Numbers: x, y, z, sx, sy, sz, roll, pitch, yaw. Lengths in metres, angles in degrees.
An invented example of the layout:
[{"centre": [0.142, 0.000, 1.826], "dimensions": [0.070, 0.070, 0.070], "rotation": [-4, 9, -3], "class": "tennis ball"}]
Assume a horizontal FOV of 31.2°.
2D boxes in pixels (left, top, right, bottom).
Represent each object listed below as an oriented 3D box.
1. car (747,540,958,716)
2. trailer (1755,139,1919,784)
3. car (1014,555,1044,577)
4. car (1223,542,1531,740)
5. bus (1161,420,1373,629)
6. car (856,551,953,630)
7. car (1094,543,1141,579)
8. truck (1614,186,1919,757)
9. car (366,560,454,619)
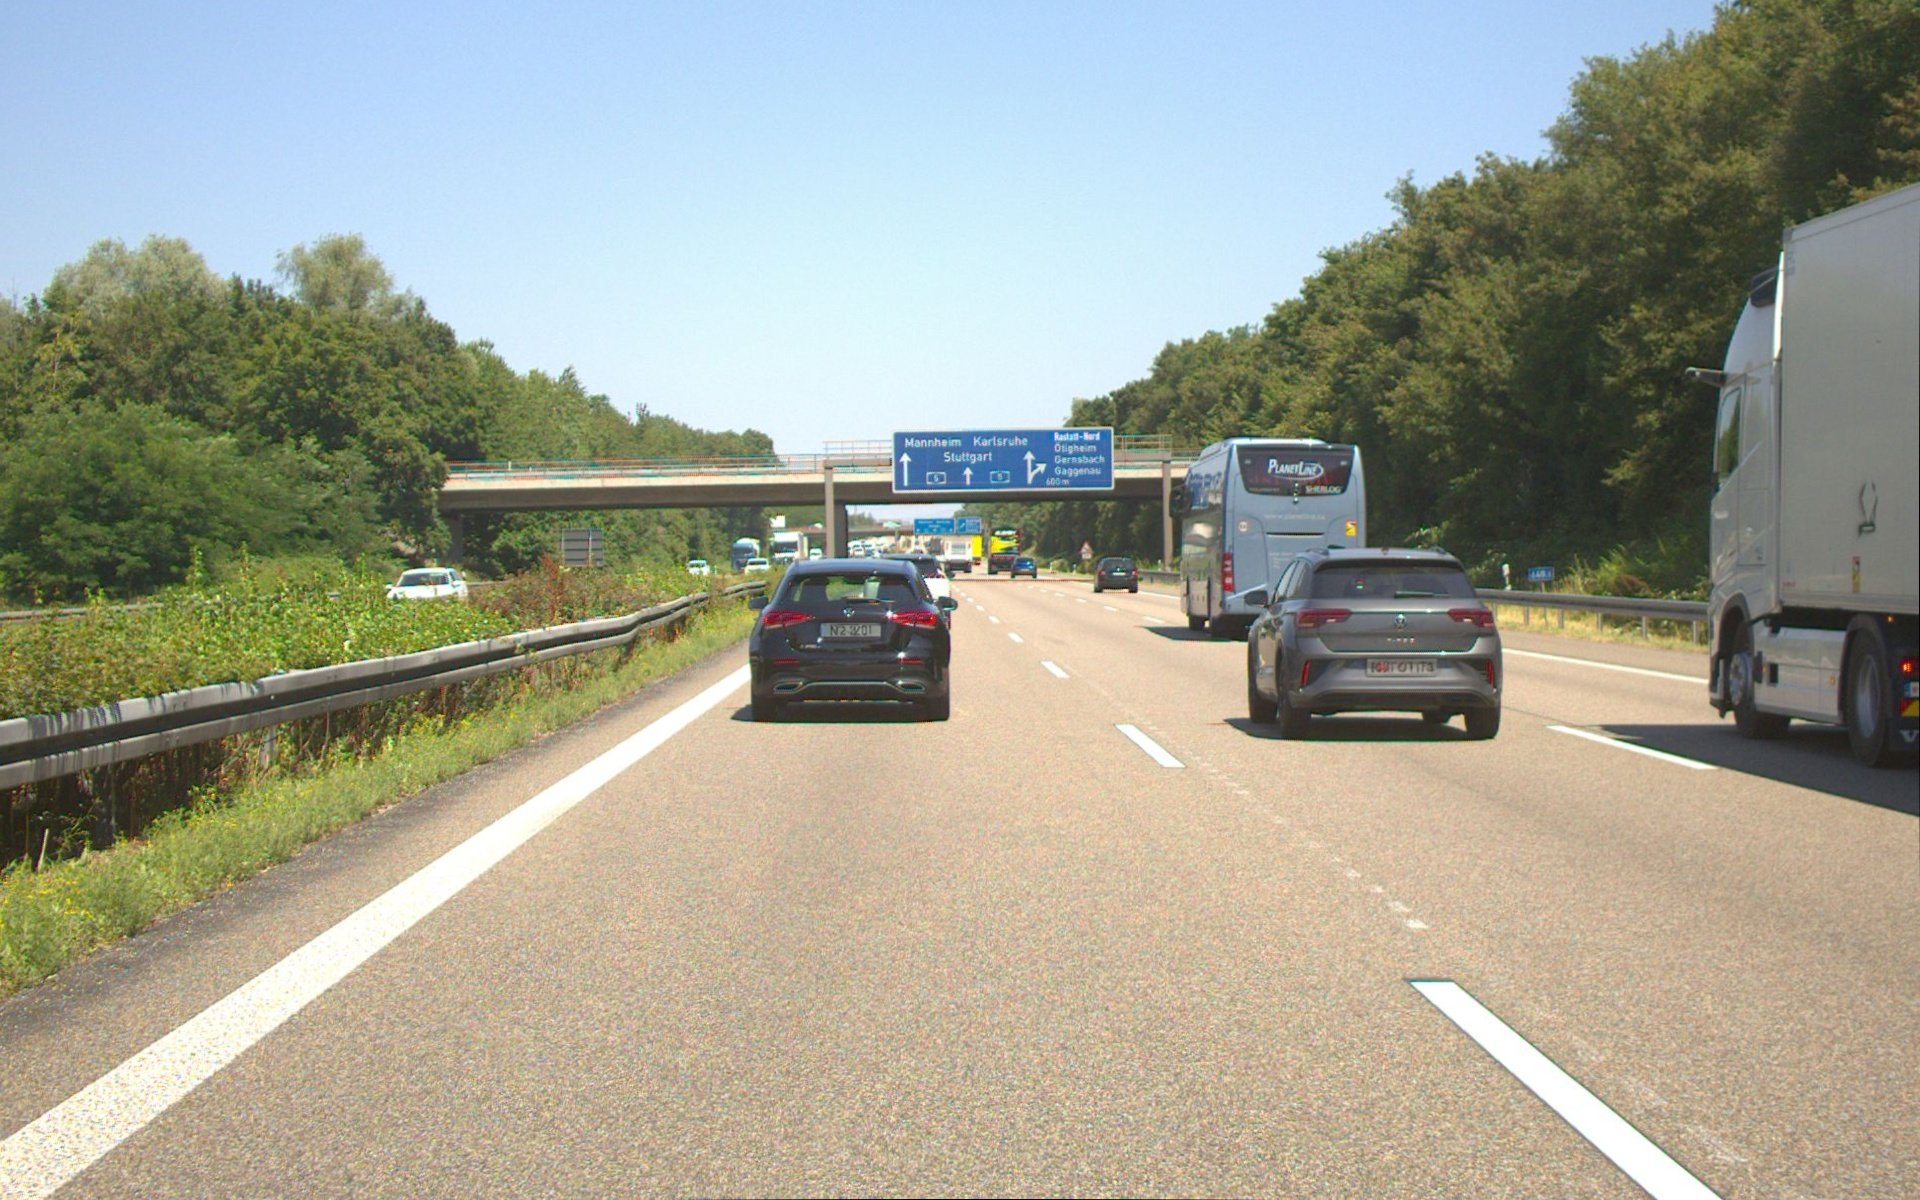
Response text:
[{"centre": [-0.985, 0.205, 31.743], "dimensions": [1.799, 1.497, 4.242], "rotation": [0, 1, -2], "class": "car"}, {"centre": [7.864, -0.846, 19.592], "dimensions": [3.039, 4.210, 13.837], "rotation": [1, 1, -2], "class": "trailer"}, {"centre": [4.943, -2.447, 247.690], "dimensions": [2.081, 1.527, 4.241], "rotation": [1, 1, 0], "class": "car"}, {"centre": [3.435, 0.280, 29.186], "dimensions": [1.899, 1.527, 4.760], "rotation": [0, 1, -2], "class": "car"}, {"centre": [5.663, -1.379, 65.589], "dimensions": [2.802, 3.584, 12.475], "rotation": [0, 1, 0], "class": "bus"}, {"centre": [-1.151, -0.214, 70.058], "dimensions": [1.899, 1.527, 4.242], "rotation": [0, 1, -2], "class": "car"}, {"centre": [6.580, -1.654, 143.676], "dimensions": [1.789, 1.456, 3.949], "rotation": [1, 1, 0], "class": "car"}, {"centre": [7.599, -0.984, 28.392], "dimensions": [3.047, 4.200, 6.049], "rotation": [1, 1, -2], "class": "truck"}, {"centre": [-14.400, -0.299, 90.212], "dimensions": [1.633, 1.422, 4.661], "rotation": [-2, 1, -2], "class": "car"}]
